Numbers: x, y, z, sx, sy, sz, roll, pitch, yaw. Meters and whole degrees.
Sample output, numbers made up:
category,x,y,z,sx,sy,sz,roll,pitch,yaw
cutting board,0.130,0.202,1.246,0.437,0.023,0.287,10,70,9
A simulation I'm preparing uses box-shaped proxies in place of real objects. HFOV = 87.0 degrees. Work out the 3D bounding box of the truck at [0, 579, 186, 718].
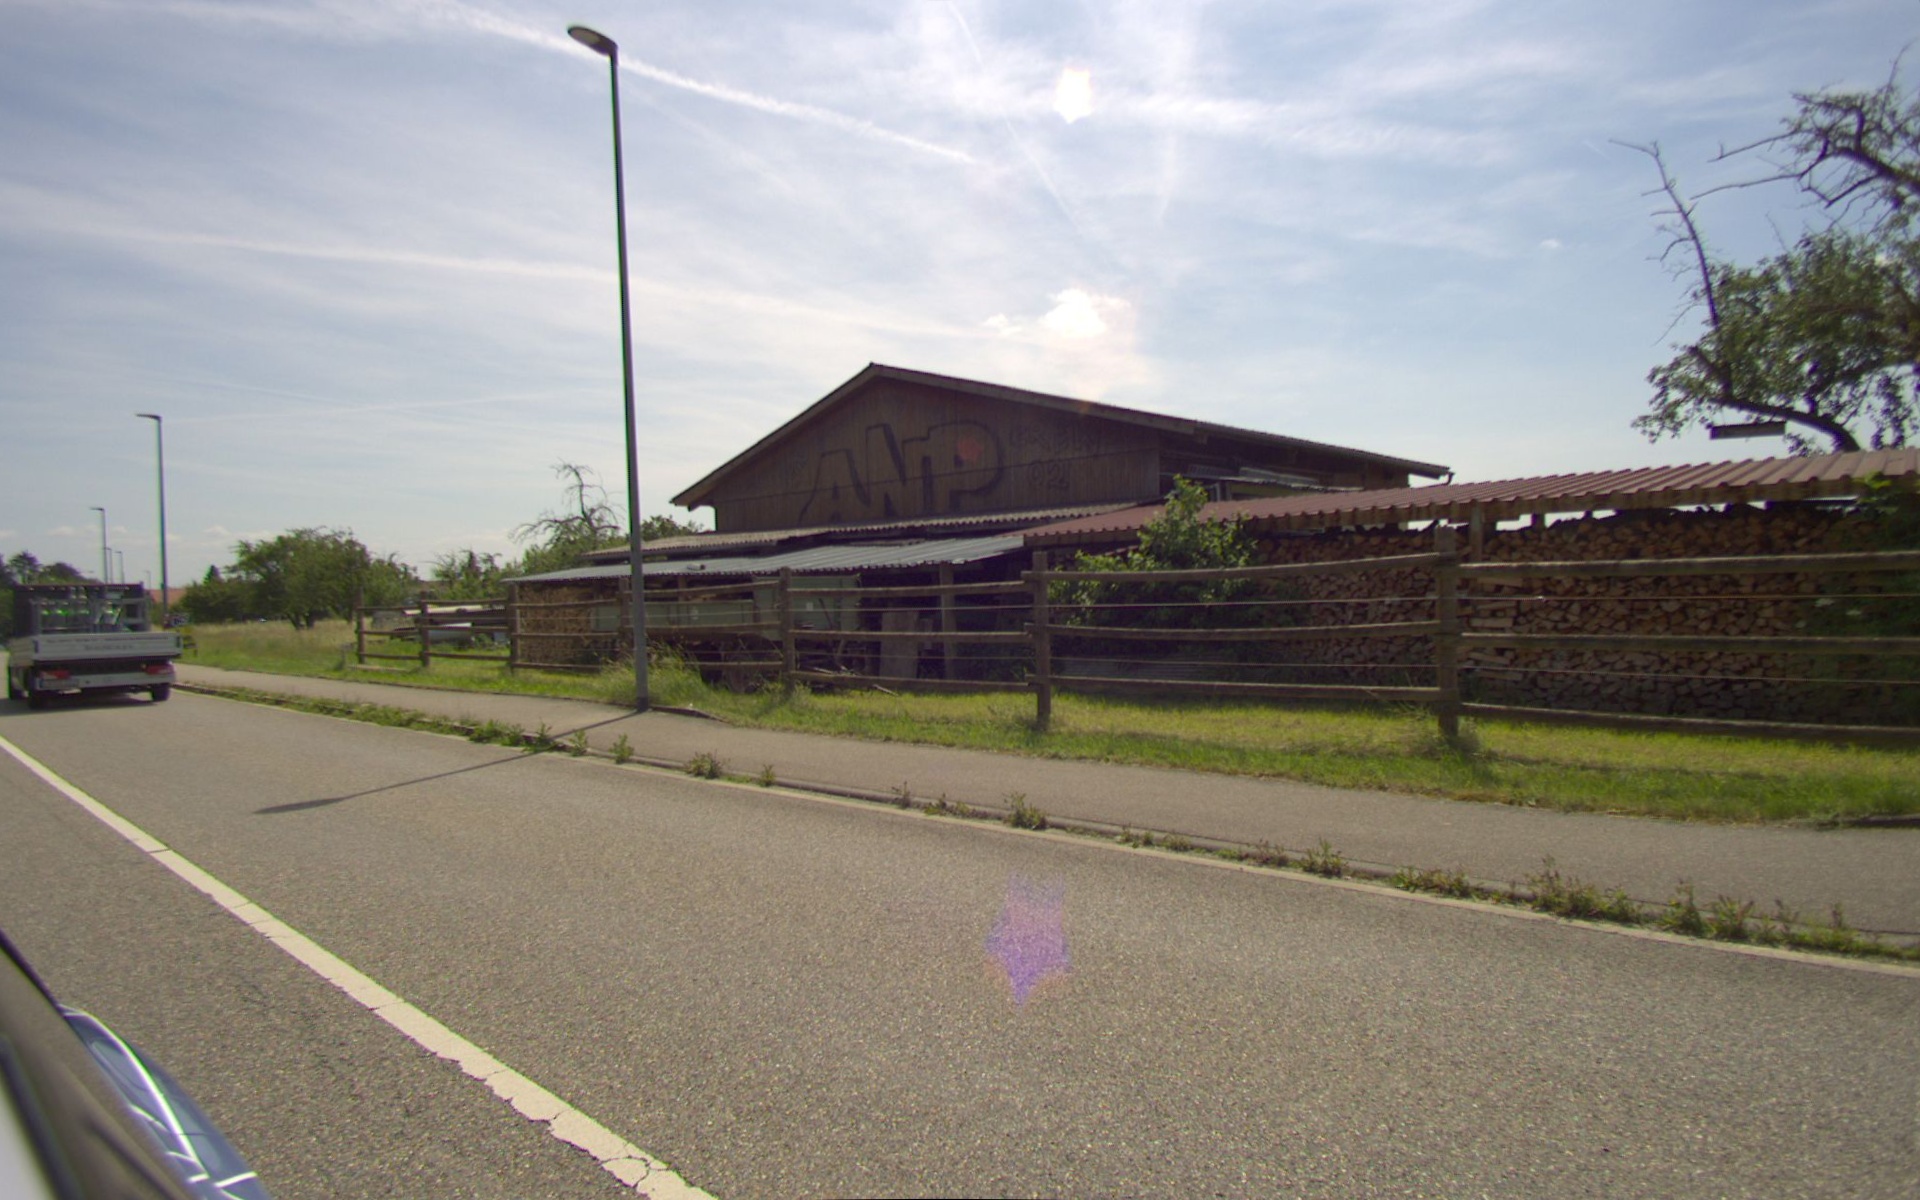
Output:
category,x,y,z,sx,sy,sz,roll,pitch,yaw
truck,-17.203,0.847,19.796,6.491,2.310,2.198,-2,0,43

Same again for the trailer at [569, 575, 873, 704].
category,x,y,z,sx,sy,sz,roll,pitch,yaw
trailer,-3.884,0.571,15.872,5.027,1.716,2.132,-2,-1,42
